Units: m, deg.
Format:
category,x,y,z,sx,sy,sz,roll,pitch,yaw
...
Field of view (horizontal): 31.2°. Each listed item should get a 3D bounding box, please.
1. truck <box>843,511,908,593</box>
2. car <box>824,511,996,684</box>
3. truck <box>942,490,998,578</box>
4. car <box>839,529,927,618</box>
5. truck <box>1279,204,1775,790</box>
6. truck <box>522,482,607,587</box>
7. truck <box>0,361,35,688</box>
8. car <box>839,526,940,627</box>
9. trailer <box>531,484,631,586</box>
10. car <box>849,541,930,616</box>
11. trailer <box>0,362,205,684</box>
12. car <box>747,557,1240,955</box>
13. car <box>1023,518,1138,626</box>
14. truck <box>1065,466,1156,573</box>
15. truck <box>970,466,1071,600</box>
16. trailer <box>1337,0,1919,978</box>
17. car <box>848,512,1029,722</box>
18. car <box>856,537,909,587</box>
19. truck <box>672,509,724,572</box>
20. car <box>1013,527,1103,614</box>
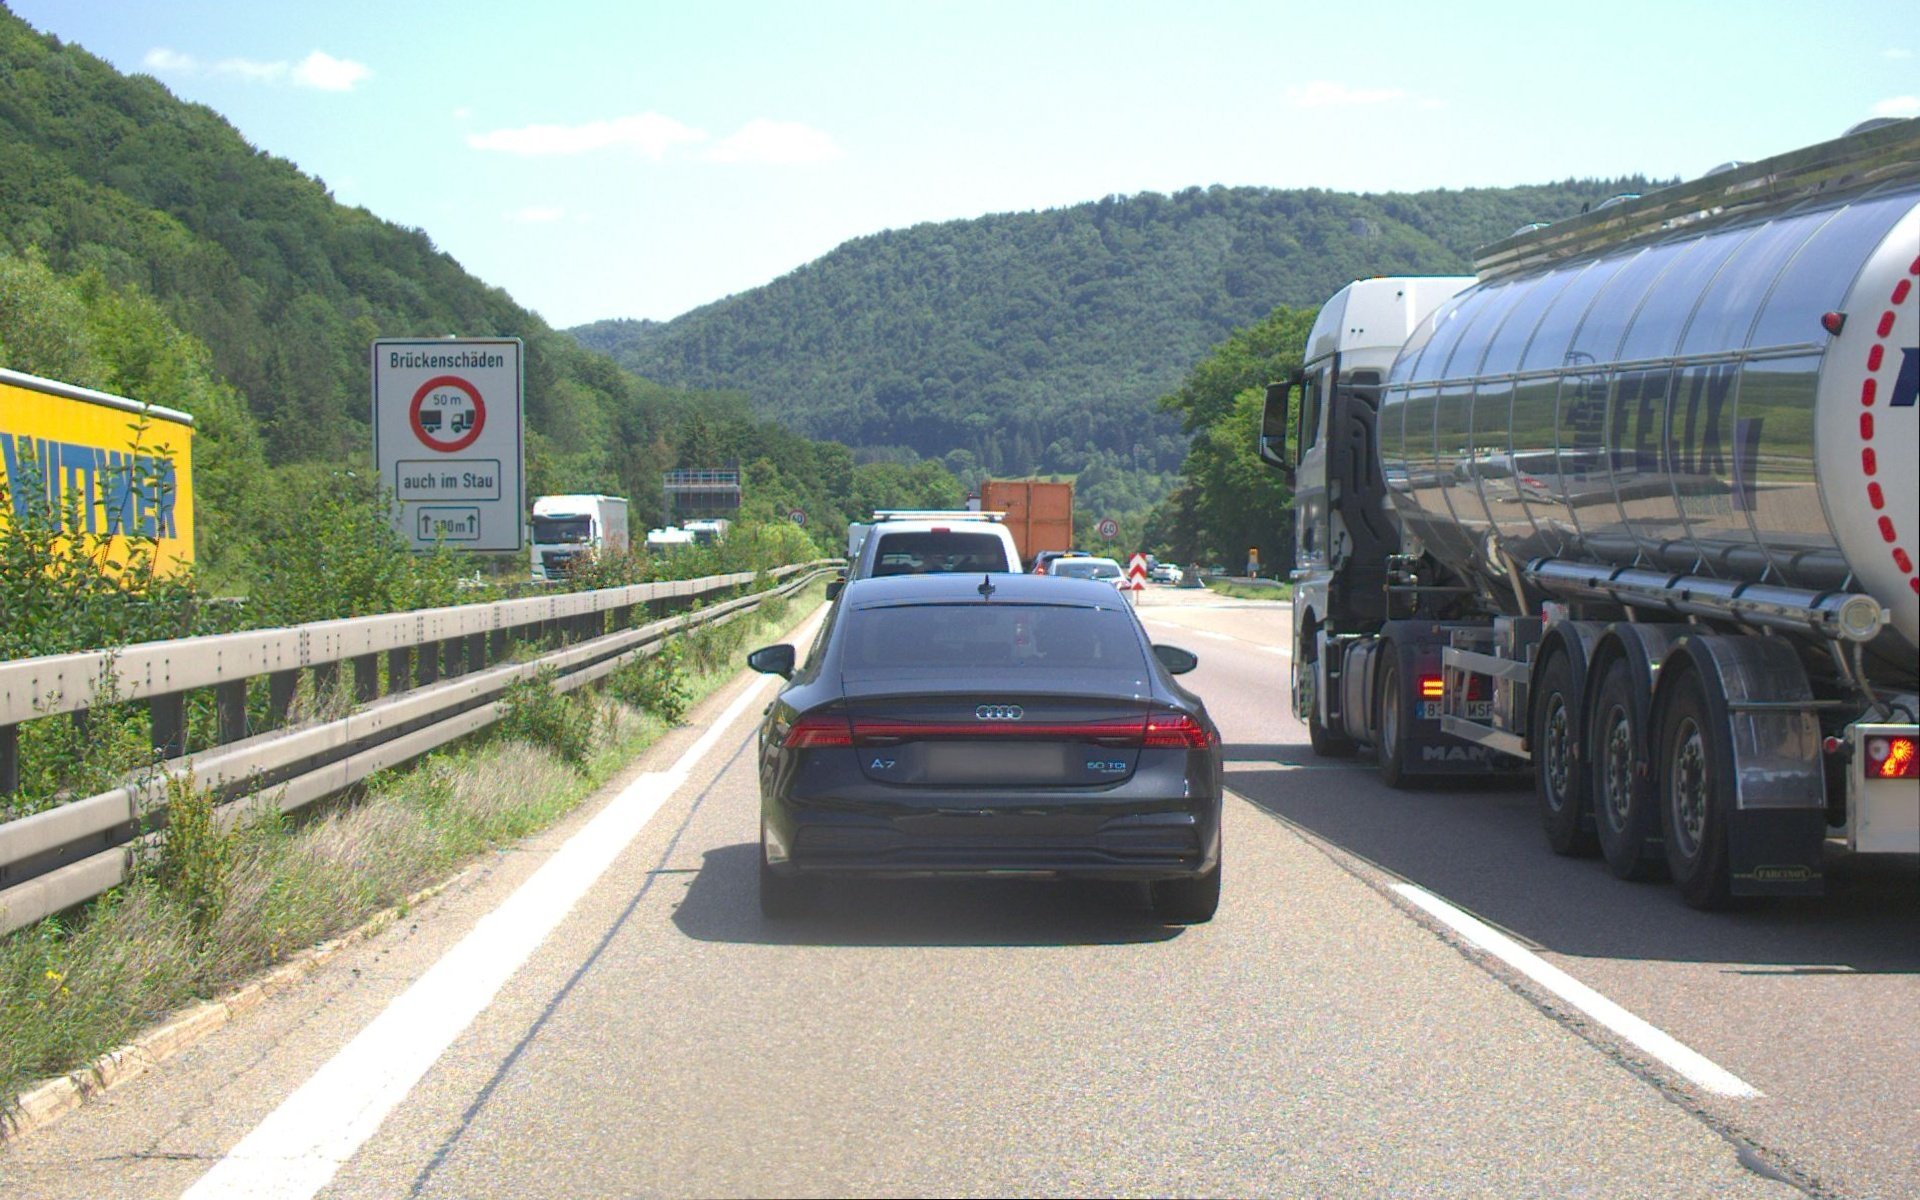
category,x,y,z,sx,sy,sz,roll,pitch,yaw
truck,-3.598,-2.077,148.615,2.628,3.429,11.421,0,1,-1
car,-0.627,-0.054,42.115,1.993,2.007,4.000,0,1,-1
truck,0.350,-2.663,140.015,1.993,3.435,11.812,0,1,-1
car,-1.812,-0.636,80.340,1.993,2.007,4.000,0,1,-2
truck,3.889,-0.693,24.711,2.511,3.746,5.246,0,1,-2
truck,-15.379,-2.540,134.056,2.728,3.988,5.370,-1,1,-1
truck,-13.209,-0.916,41.499,2.547,4.076,5.850,0,1,-1
car,-1.466,-0.492,70.522,1.993,2.007,4.000,0,1,-2
trailer,-15.527,-2.671,141.932,2.782,3.986,14.160,-1,1,-1
car,-1.544,-0.489,76.722,1.712,1.613,4.000,0,1,0
trailer,-13.268,-1.049,48.562,2.581,3.991,12.602,0,1,-1
car,0.028,0.566,15.005,1.849,1.483,4.083,0,1,-3
car,2.301,-0.564,66.569,1.993,2.007,4.000,-1,1,-1
truck,5.881,-3.107,136.457,2.817,3.989,14.956,0,1,0
truck,1.836,-2.099,110.396,2.817,3.989,14.956,0,1,0
trailer,4.116,-0.590,18.191,2.538,3.723,11.893,0,1,-2
car,-0.234,0.122,32.093,1.575,1.827,4.000,0,1,-1
car,-2.588,-1.282,115.448,1.712,1.613,4.000,0,1,0
truck,-16.947,-3.855,223.244,2.869,3.992,10.172,0,1,-2
car,2.307,-0.716,81.744,1.993,1.996,4.000,0,1,0
